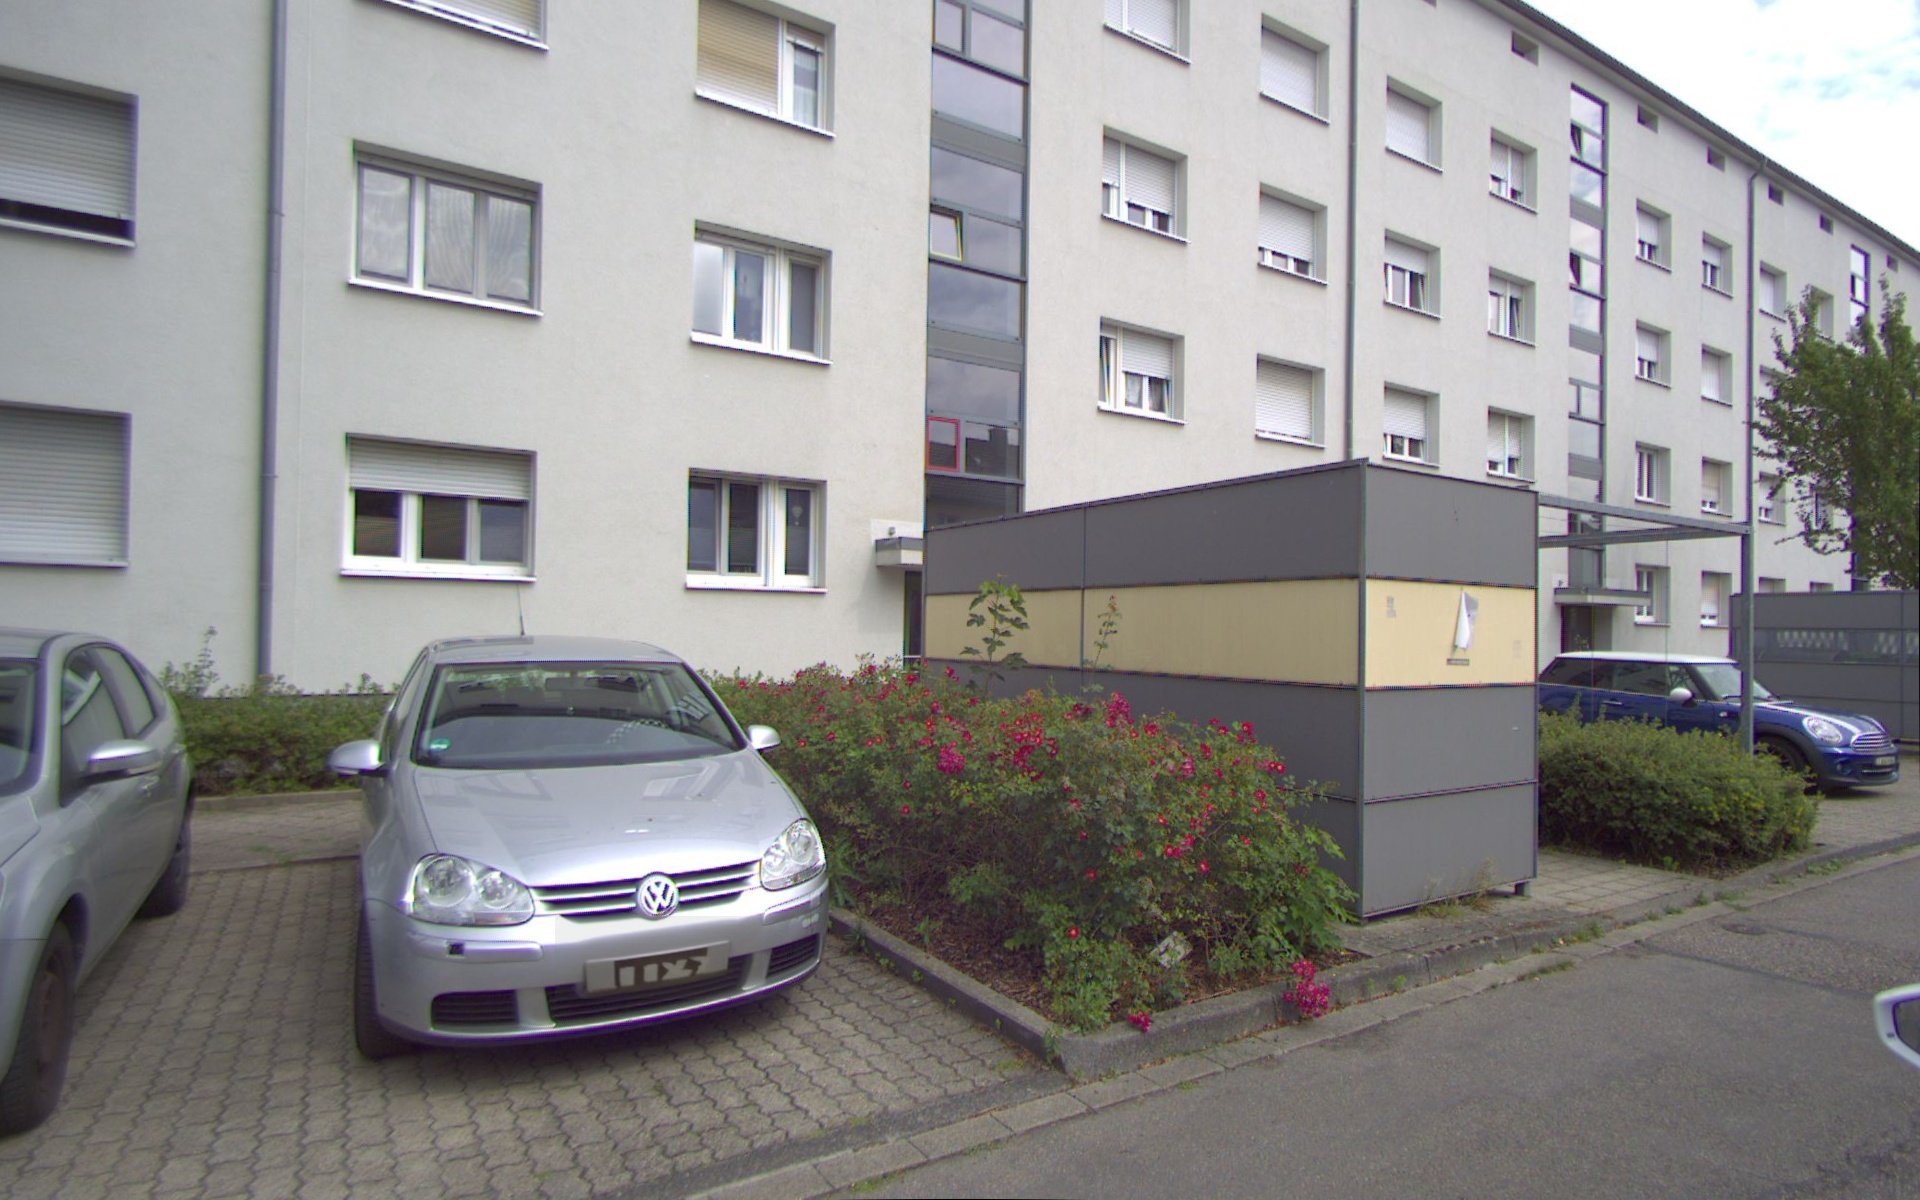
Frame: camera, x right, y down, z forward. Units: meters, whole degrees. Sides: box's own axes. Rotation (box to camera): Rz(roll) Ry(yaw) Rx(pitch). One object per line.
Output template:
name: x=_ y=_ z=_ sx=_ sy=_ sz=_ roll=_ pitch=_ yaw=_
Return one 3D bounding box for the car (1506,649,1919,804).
car: x=8.611 y=1.332 z=11.765 sx=1.632 sy=1.480 sz=3.621 roll=2 pitch=-3 yaw=-28

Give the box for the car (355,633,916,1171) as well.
car: x=-1.955 y=0.924 z=4.989 sx=1.762 sy=1.483 sz=4.031 roll=2 pitch=-3 yaw=-31

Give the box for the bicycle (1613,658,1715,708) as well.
bicycle: x=15.551 y=1.818 z=22.224 sx=1.775 sy=1.038 sz=0.479 roll=0 pitch=-1 yaw=18

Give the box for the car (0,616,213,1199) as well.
car: x=-4.071 y=0.840 z=3.643 sx=1.762 sy=1.525 sz=4.031 roll=2 pitch=-3 yaw=-31
